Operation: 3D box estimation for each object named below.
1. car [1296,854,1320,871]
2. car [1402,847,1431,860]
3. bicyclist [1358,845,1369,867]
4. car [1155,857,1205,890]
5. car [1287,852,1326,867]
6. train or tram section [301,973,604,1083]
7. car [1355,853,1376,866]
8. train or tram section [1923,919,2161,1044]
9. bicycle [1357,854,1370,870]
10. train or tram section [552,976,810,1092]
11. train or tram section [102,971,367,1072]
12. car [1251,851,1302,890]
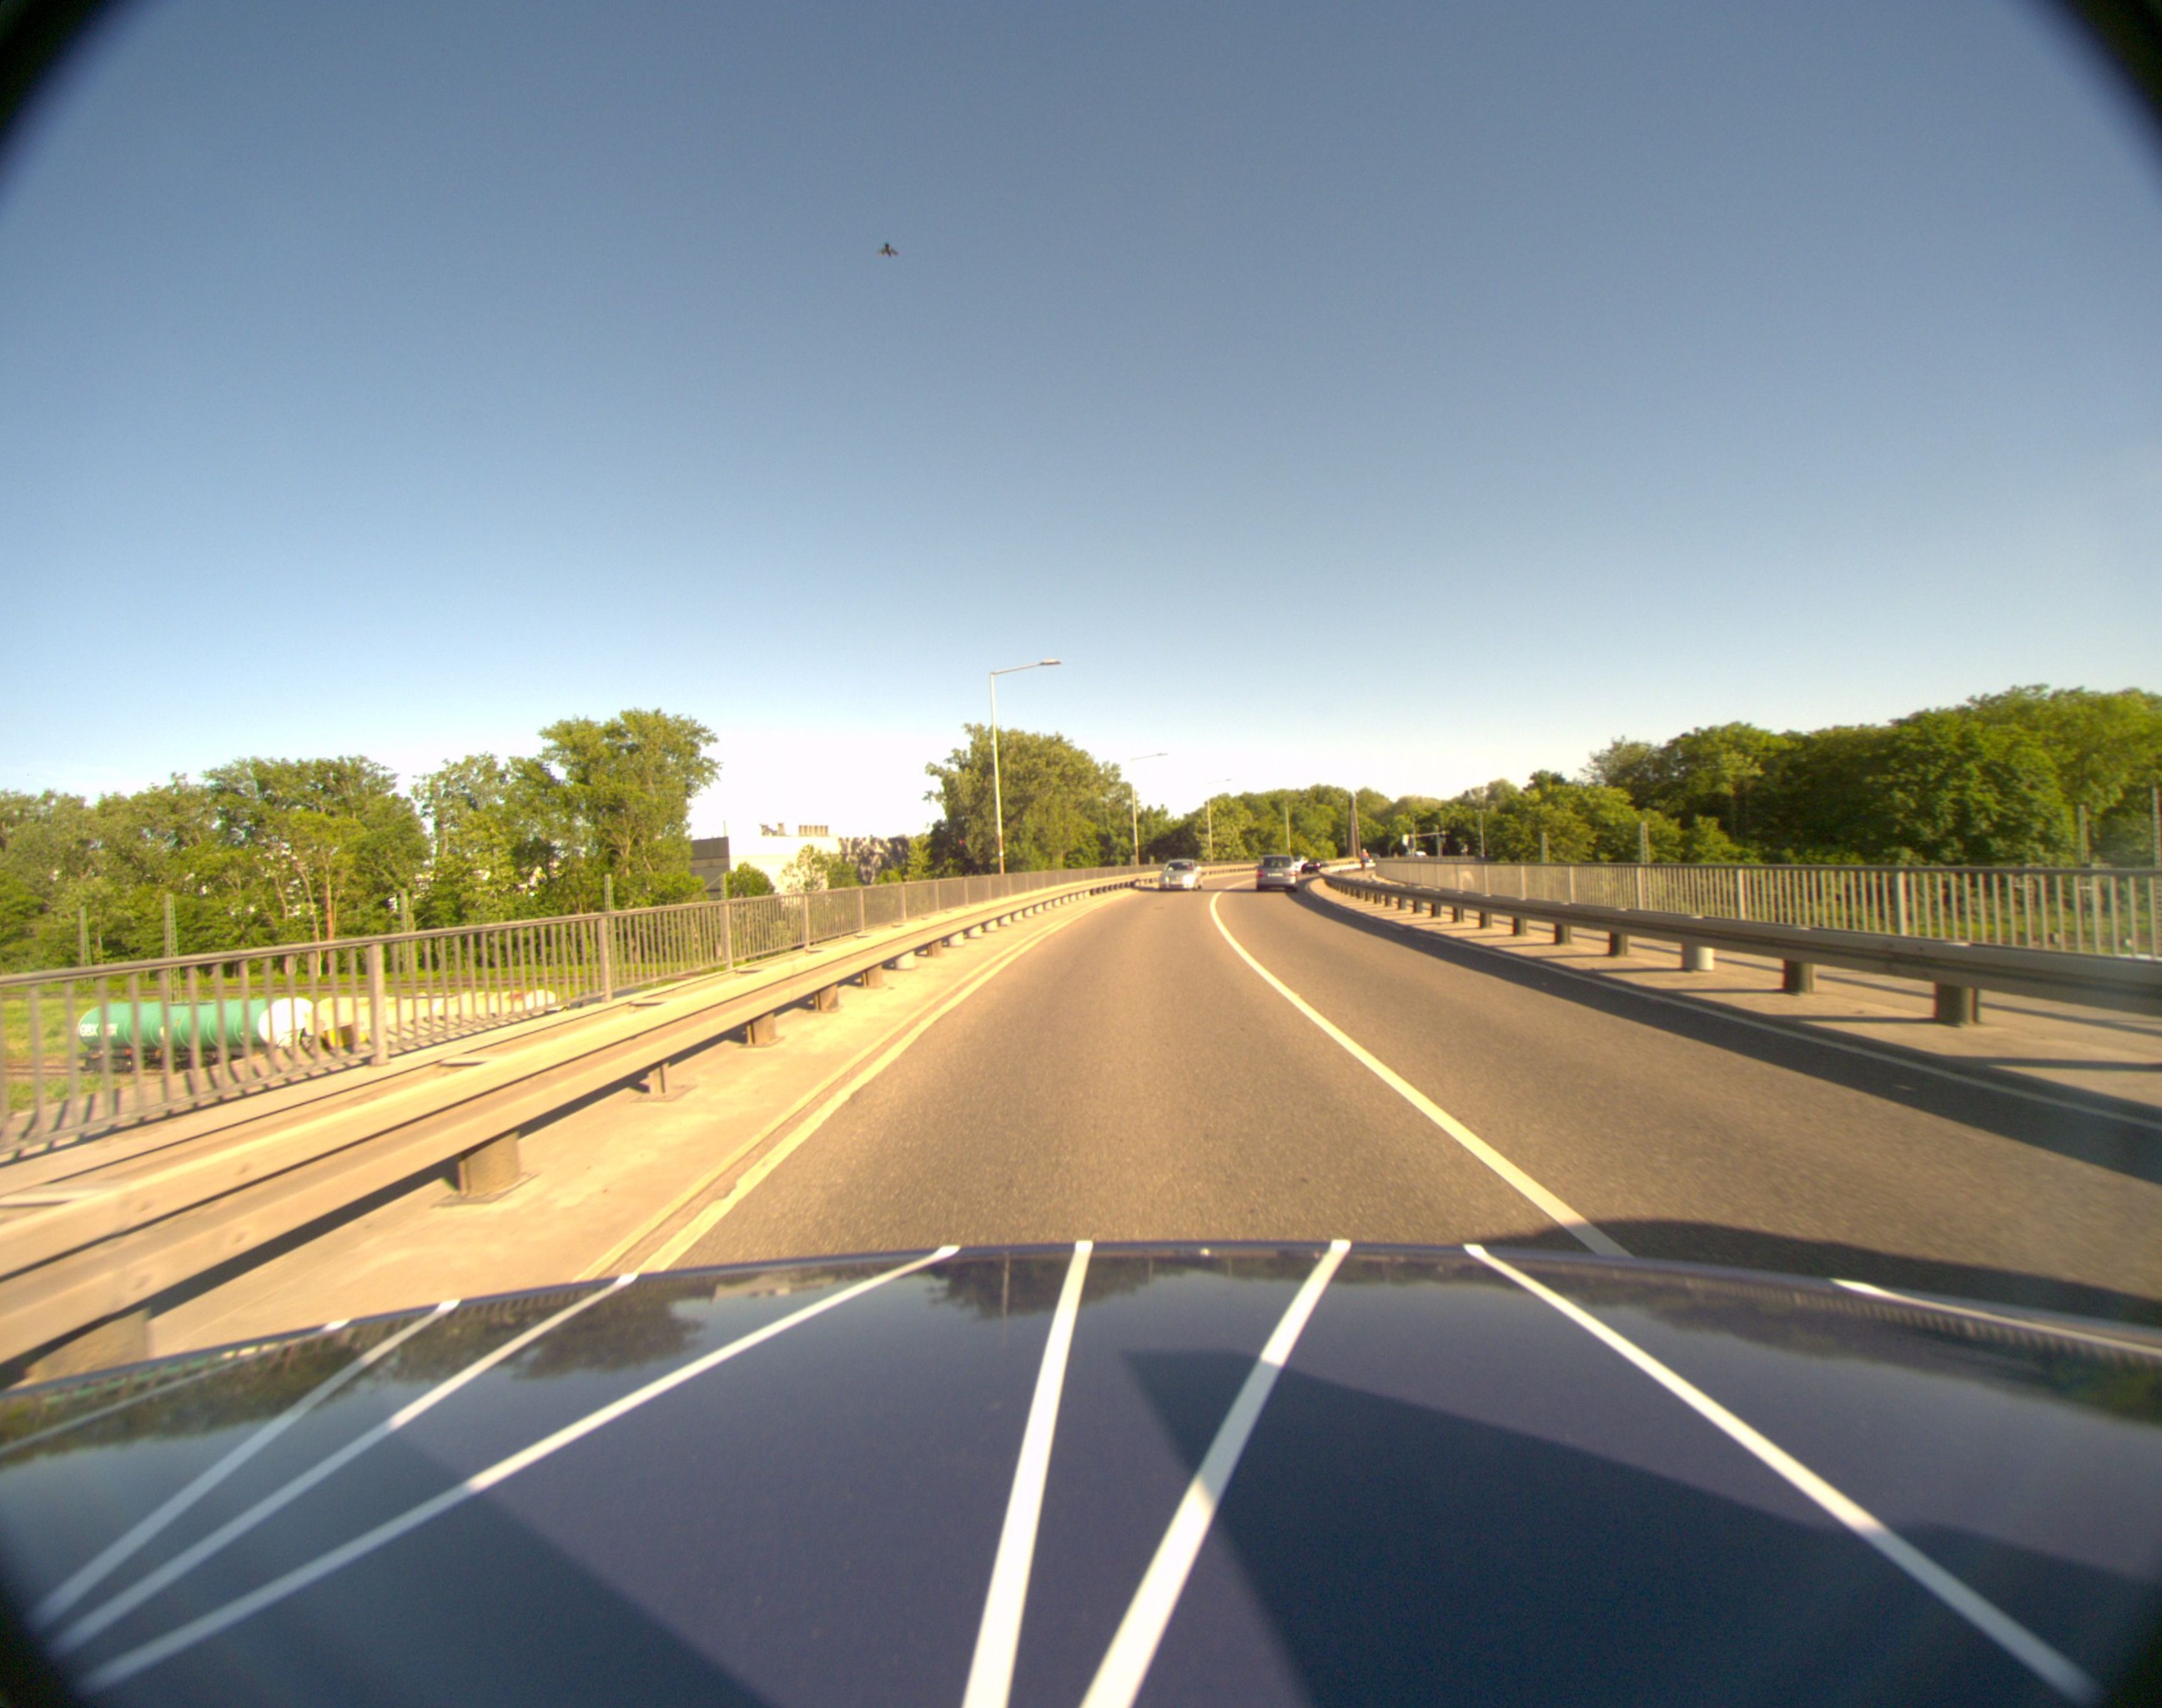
[{"bbox_3d":[19.529,0.719,65.299,1.747,1.347,4.188,-1,0,19],"label":"car"},{"bbox_3d":[69.493,-0.109,157.588,2.116,2.484,5.699,-1,-2,-18],"label":"car"},{"bbox_3d":[19.962,0.140,53.674,0.654,1.580,0.769,-1,1,26],"label":"bicyclist"},{"bbox_3d":[4.766,0.879,36.149,1.762,1.428,4.335,-1,0,16],"label":"car"},{"bbox_3d":[22.705,0.538,76.440,1.989,1.465,4.138,-1,0,45],"label":"car"},{"bbox_3d":[-36.451,9.877,44.093,16.855,5.231,3.339,-1,0,10],"label":"train or tram section"},{"bbox_3d":[37.055,0.741,98.771,1.918,1.608,3.750,-1,0,30],"label":"car"},{"bbox_3d":[45.874,5.083,30.879,16.743,4.564,3.909,-1,0,10],"label":"train or tram section"},{"bbox_3d":[19.950,0.564,53.646,0.654,1.058,1.893,-1,0,26],"label":"bicycle"},{"bbox_3d":[-21.736,9.612,41.450,13.064,5.234,3.339,-1,0,10],"label":"train or tram section"},{"bbox_3d":[-52.248,10.139,46.950,15.155,5.153,3.339,-1,0,10],"label":"train or tram section"},{"bbox_3d":[8.656,0.707,33.926,1.852,1.614,4.105,-1,0,10],"label":"car"}]
